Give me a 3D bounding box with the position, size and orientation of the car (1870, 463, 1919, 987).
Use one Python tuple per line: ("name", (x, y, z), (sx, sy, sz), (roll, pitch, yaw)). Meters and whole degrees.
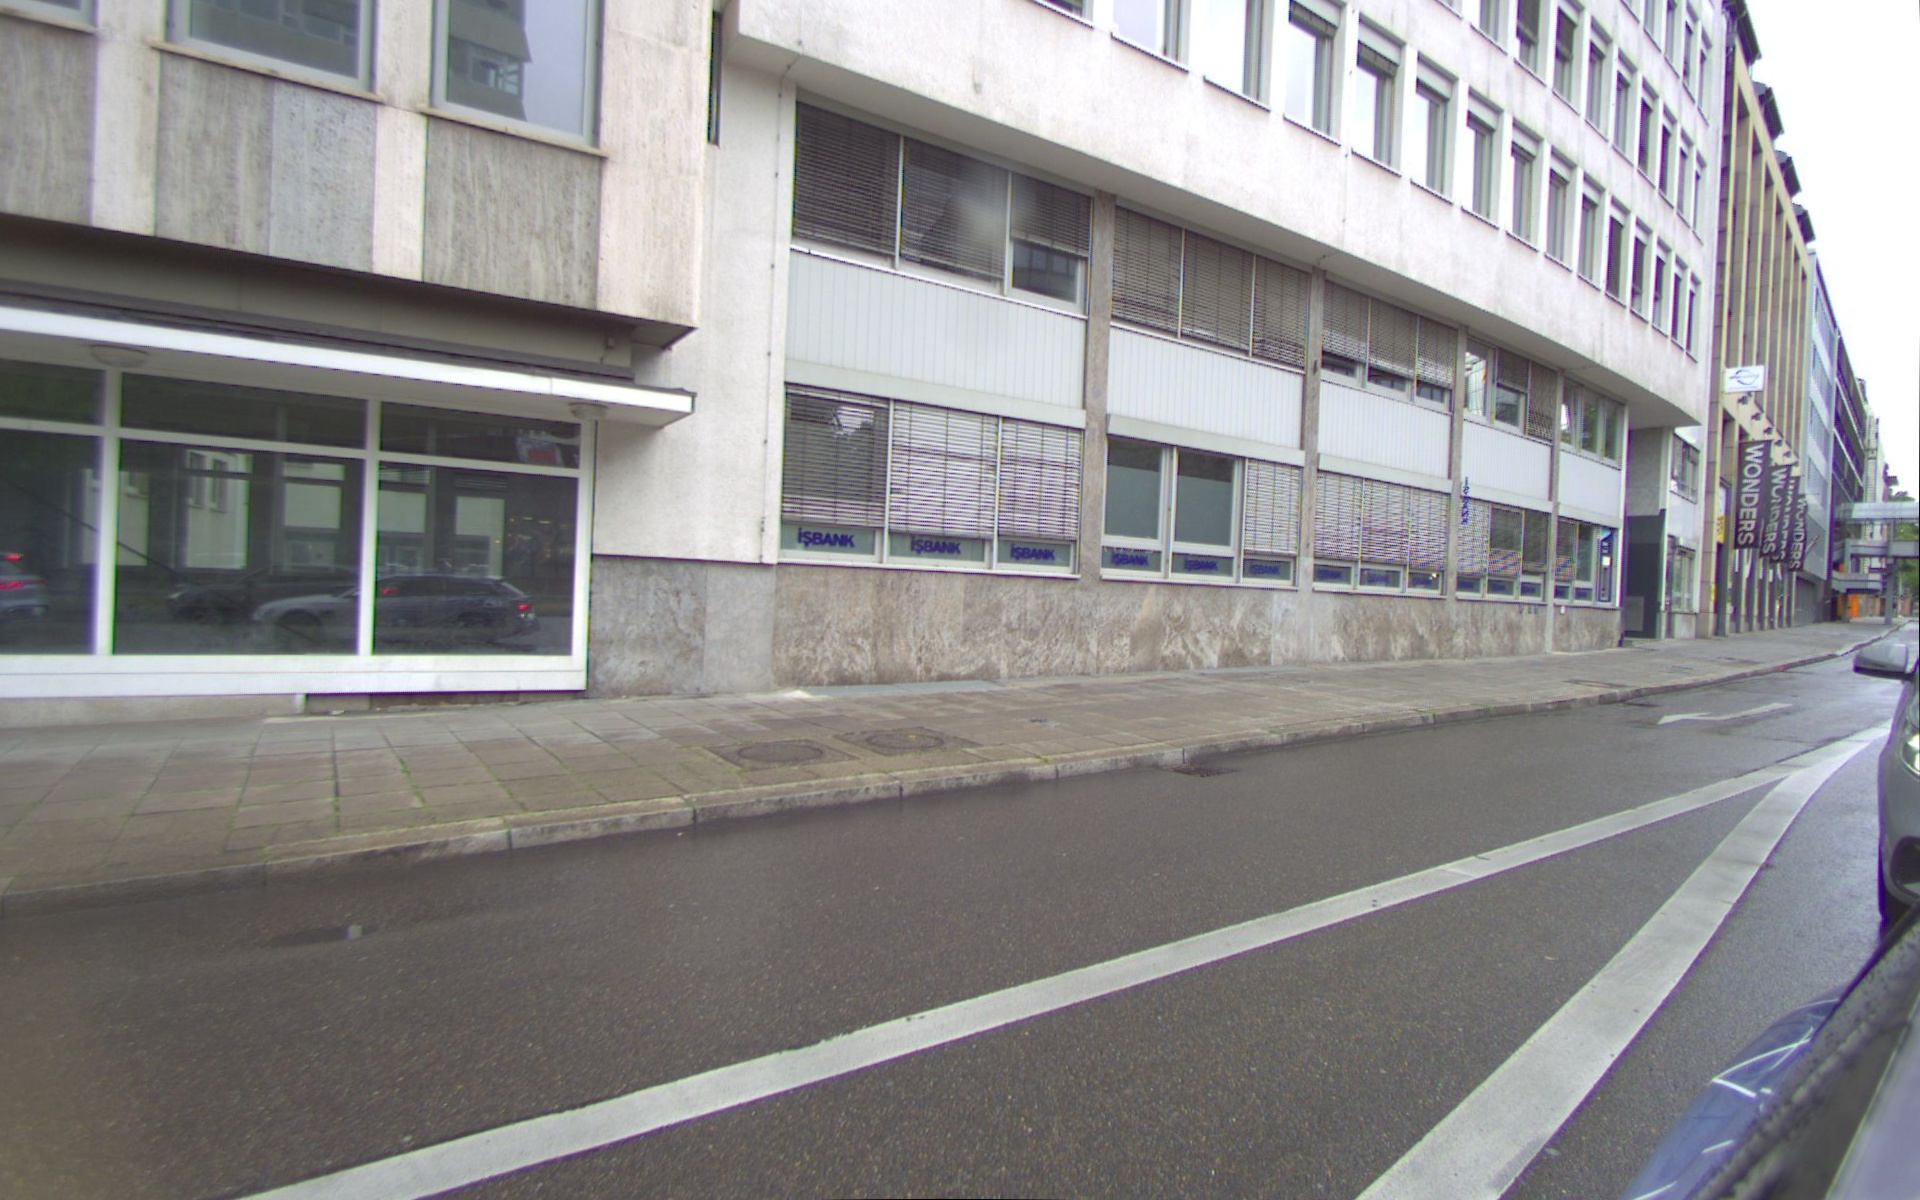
("car", (6.160, 0.514, 5.056), (2.158, 2.051, 4.959), (1, 0, 45))
